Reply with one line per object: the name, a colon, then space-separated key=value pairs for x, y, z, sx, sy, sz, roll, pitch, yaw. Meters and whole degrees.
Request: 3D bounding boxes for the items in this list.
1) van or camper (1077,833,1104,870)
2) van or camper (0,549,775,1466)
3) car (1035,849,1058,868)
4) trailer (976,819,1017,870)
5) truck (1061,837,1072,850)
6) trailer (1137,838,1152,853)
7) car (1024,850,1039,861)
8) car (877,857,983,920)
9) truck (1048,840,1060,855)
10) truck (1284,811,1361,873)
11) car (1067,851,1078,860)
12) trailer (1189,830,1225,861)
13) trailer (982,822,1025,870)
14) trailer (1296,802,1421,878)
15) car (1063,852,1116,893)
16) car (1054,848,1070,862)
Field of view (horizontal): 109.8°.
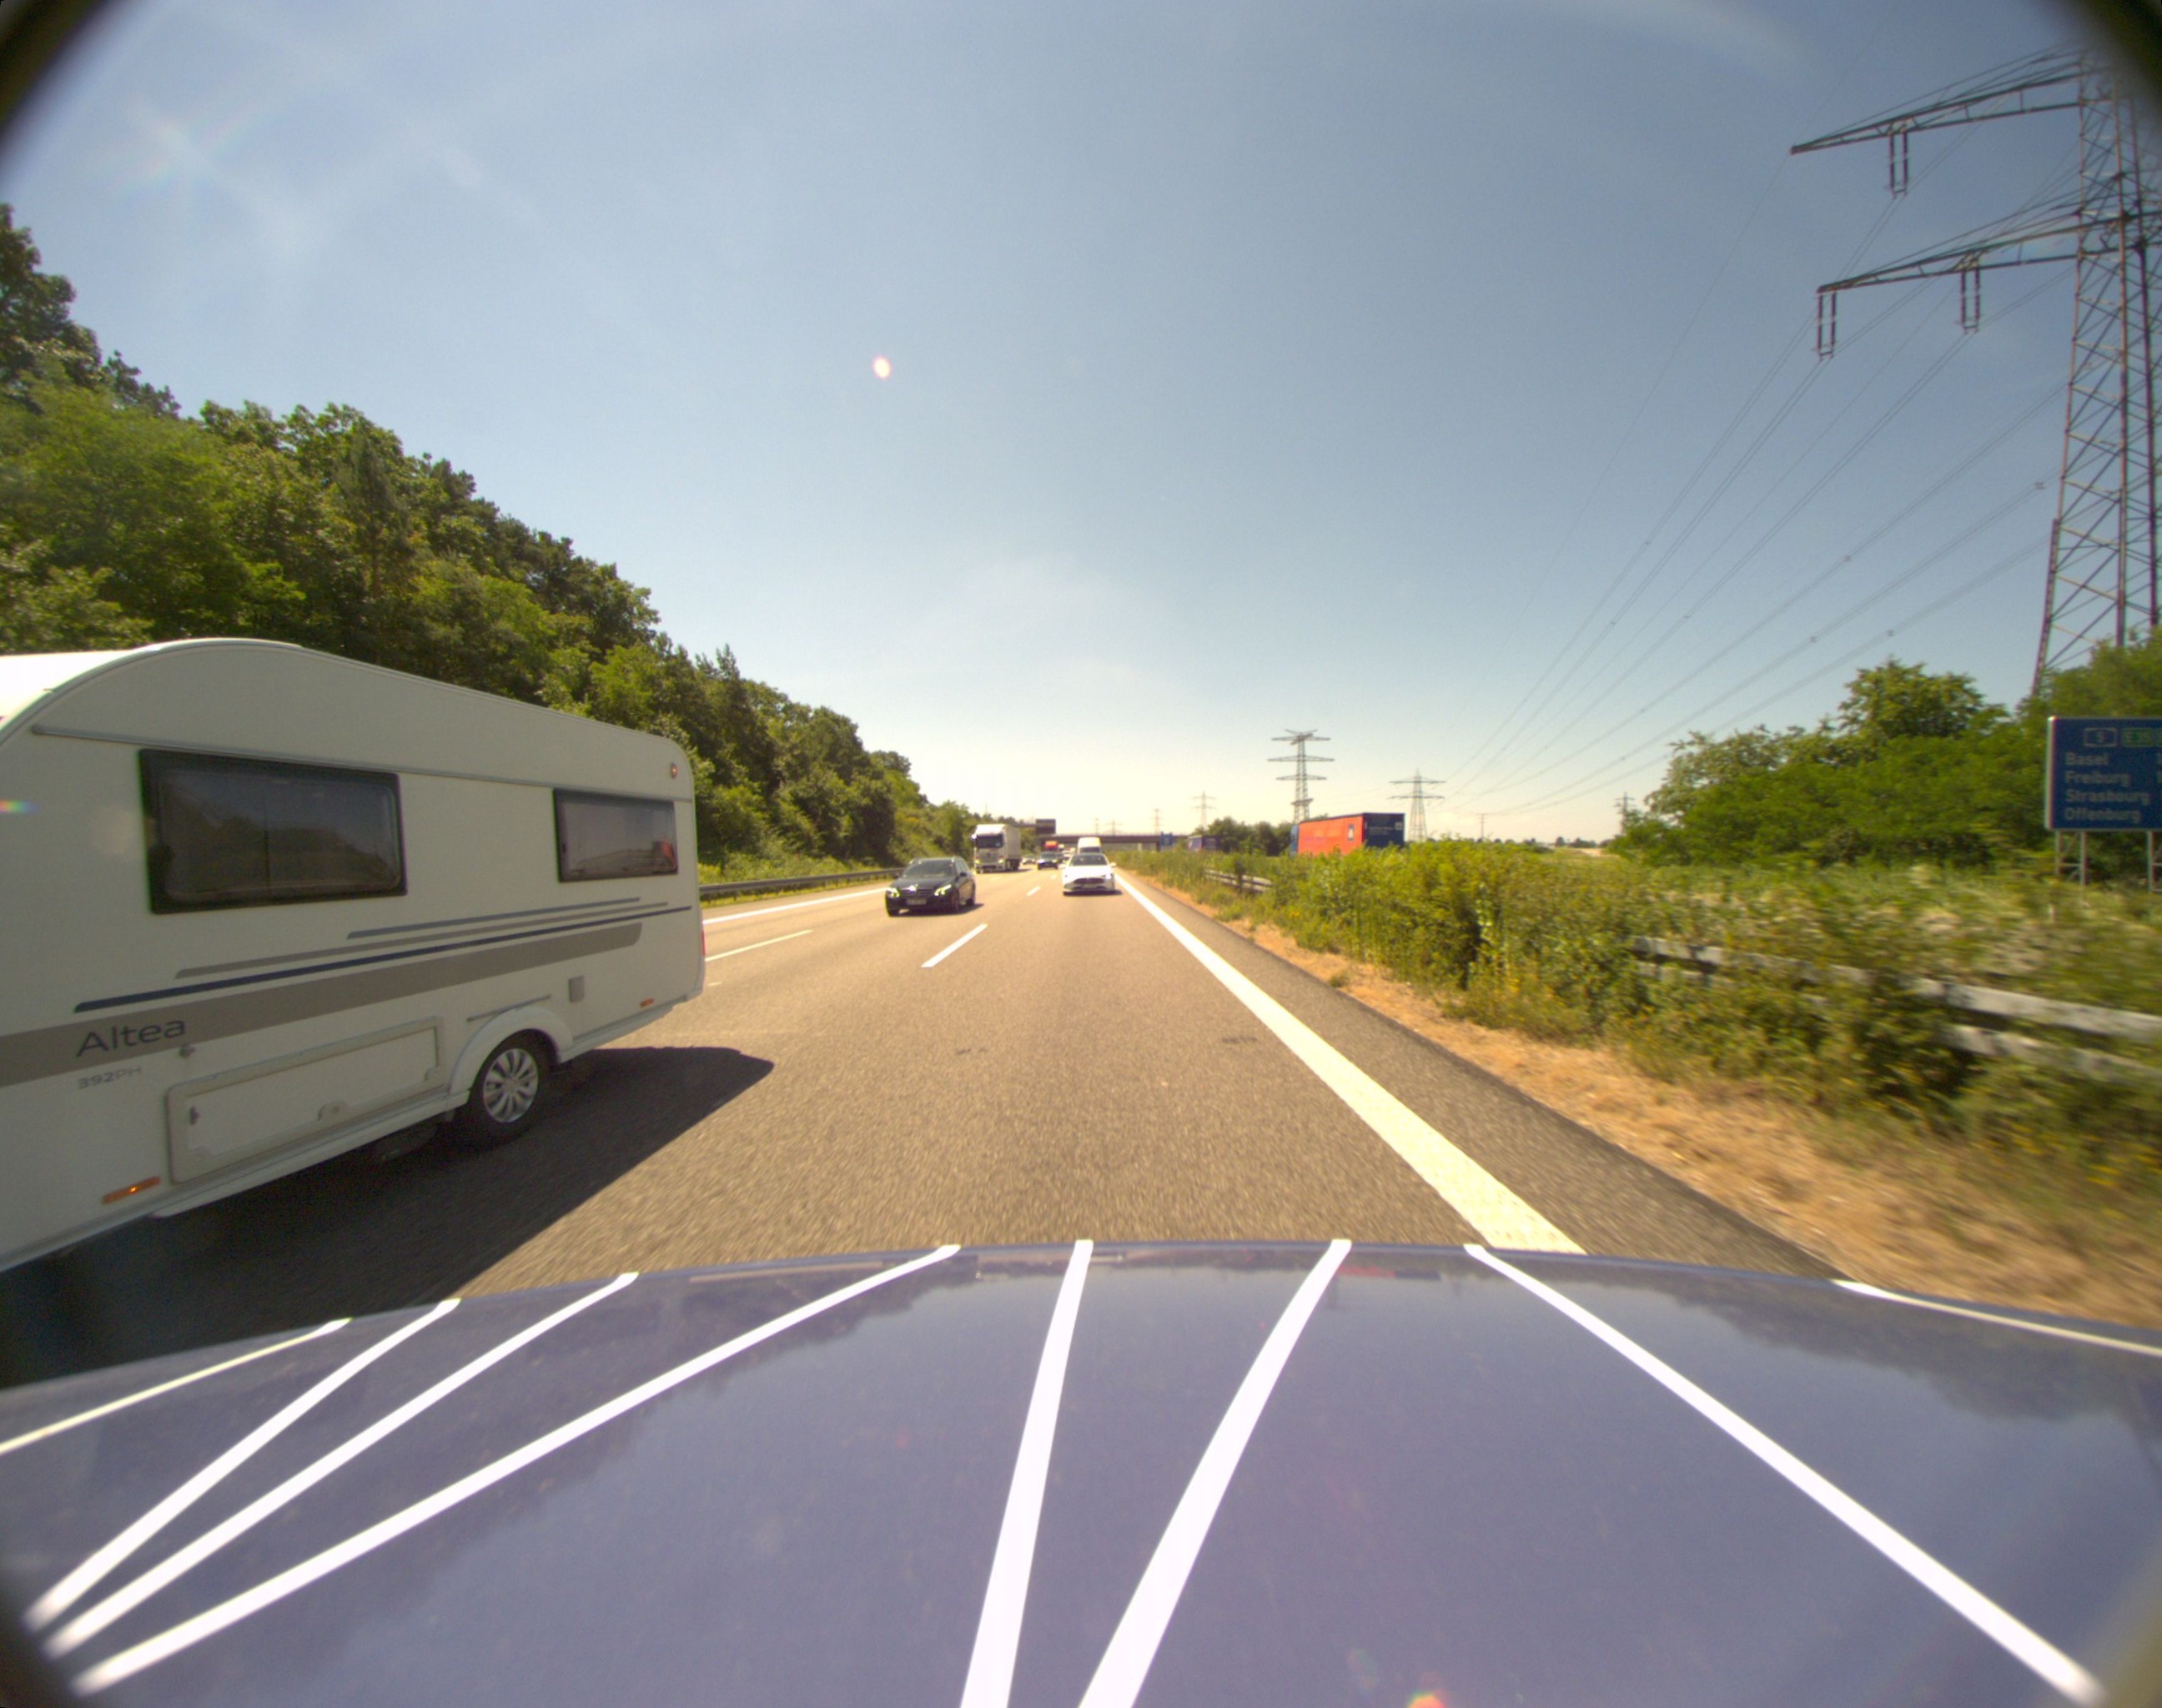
van or camper: x=0.820 y=-0.187 z=61.004 sx=1.998 sy=2.740 sz=5.410 roll=-2 pitch=0 yaw=2
van or camper: x=-4.324 y=0.453 z=4.297 sx=2.445 sy=2.659 sz=6.349 roll=-1 pitch=0 yaw=1
car: x=-3.228 y=0.440 z=71.446 sx=1.984 sy=1.671 sz=4.558 roll=-1 pitch=0 yaw=-1
trailer: x=-7.138 y=-0.795 z=65.322 sx=2.720 sy=4.079 sz=6.788 roll=-1 pitch=1 yaw=-1
truck: x=-4.692 y=-3.431 z=243.564 sx=3.507 sy=3.891 sz=9.645 roll=-1 pitch=1 yaw=-2
trailer: x=19.044 y=-2.603 z=227.756 sx=3.376 sy=4.383 sz=14.318 roll=1 pitch=0 yaw=0
car: x=-6.956 y=0.222 z=106.692 sx=1.840 sy=1.403 sz=4.558 roll=-2 pitch=0 yaw=-1
car: x=-4.093 y=0.887 z=21.477 sx=1.845 sy=1.496 sz=4.738 roll=-3 pitch=0 yaw=2
truck: x=-6.223 y=-1.535 z=174.577 sx=2.582 sy=3.204 sz=5.712 roll=-3 pitch=1 yaw=-1
truck: x=18.536 y=-0.915 z=58.929 sx=3.352 sy=4.382 sz=7.971 roll=2 pitch=1 yaw=0
car: x=-1.603 y=0.320 z=138.332 sx=1.984 sy=1.525 sz=4.137 roll=-1 pitch=0 yaw=-1
trailer: x=19.153 y=-1.252 z=116.630 sx=3.095 sy=4.382 sz=14.230 roll=1 pitch=0 yaw=1
trailer: x=-7.200 y=-0.734 z=72.033 sx=2.736 sy=4.079 sz=13.187 roll=-1 pitch=0 yaw=-1
trailer: x=18.488 y=-0.865 z=52.178 sx=3.352 sy=4.382 sz=14.163 roll=2 pitch=0 yaw=0
car: x=0.298 y=0.705 z=31.316 sx=1.984 sy=1.525 sz=4.558 roll=-1 pitch=0 yaw=-1
car: x=-2.335 y=0.133 z=96.229 sx=1.984 sy=1.671 sz=4.557 roll=0 pitch=1 yaw=-1
